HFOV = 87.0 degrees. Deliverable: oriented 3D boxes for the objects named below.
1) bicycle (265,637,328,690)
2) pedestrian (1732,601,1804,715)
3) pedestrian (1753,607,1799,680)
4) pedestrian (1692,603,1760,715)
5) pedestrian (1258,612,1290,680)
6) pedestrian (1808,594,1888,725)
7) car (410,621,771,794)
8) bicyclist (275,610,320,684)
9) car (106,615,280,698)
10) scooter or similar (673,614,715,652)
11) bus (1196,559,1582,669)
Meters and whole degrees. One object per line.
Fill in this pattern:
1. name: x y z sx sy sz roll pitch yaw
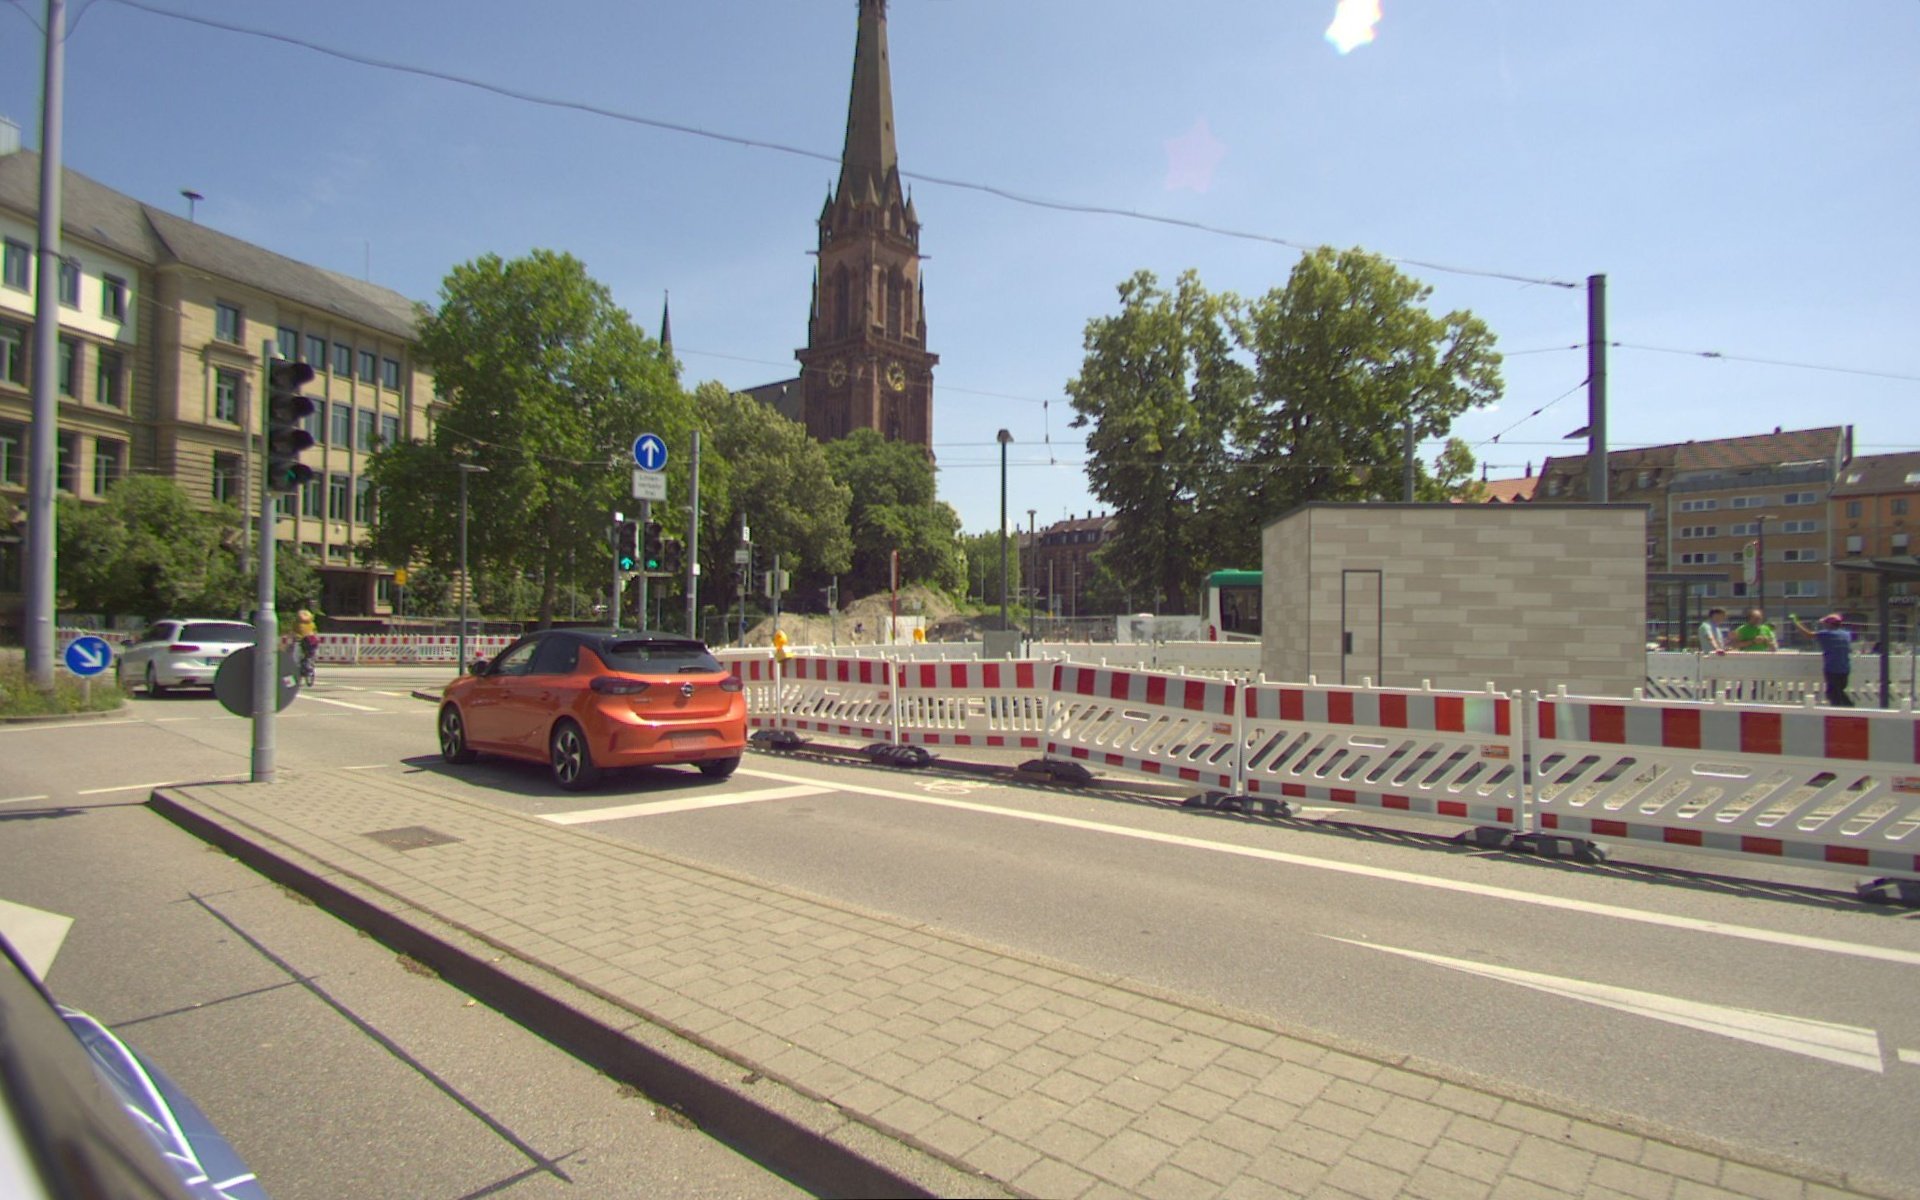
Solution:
1. bicycle: -15.600 1.476 23.760 2.007 1.159 0.582 -1 -4 38
2. pedestrian: 13.120 0.926 16.442 0.630 1.802 0.644 -1 0 6
3. pedestrian: 21.151 1.114 26.246 0.598 1.871 0.699 -1 0 2
4. pedestrian: 12.333 0.938 16.310 0.649 1.769 0.541 -1 0 -3
5. pedestrian: 8.106 1.173 26.124 0.556 1.714 0.582 -1 0 -13
6. pedestrian: 13.346 0.881 15.222 0.569 1.920 0.692 -1 0 5
7. car: -3.831 0.943 10.169 4.012 1.388 1.670 -1 -4 42
8. bicyclist: -15.520 1.097 23.719 0.798 1.678 0.580 -1 -4 38
9. car: -15.000 1.074 19.702 4.425 1.439 1.796 -1 -4 41
10. scooter or similar: -7.726 0.944 29.354 1.445 1.068 0.335 -1 0 36
11. bus: 12.820 0.445 31.220 10.478 3.076 2.849 -1 0 8
